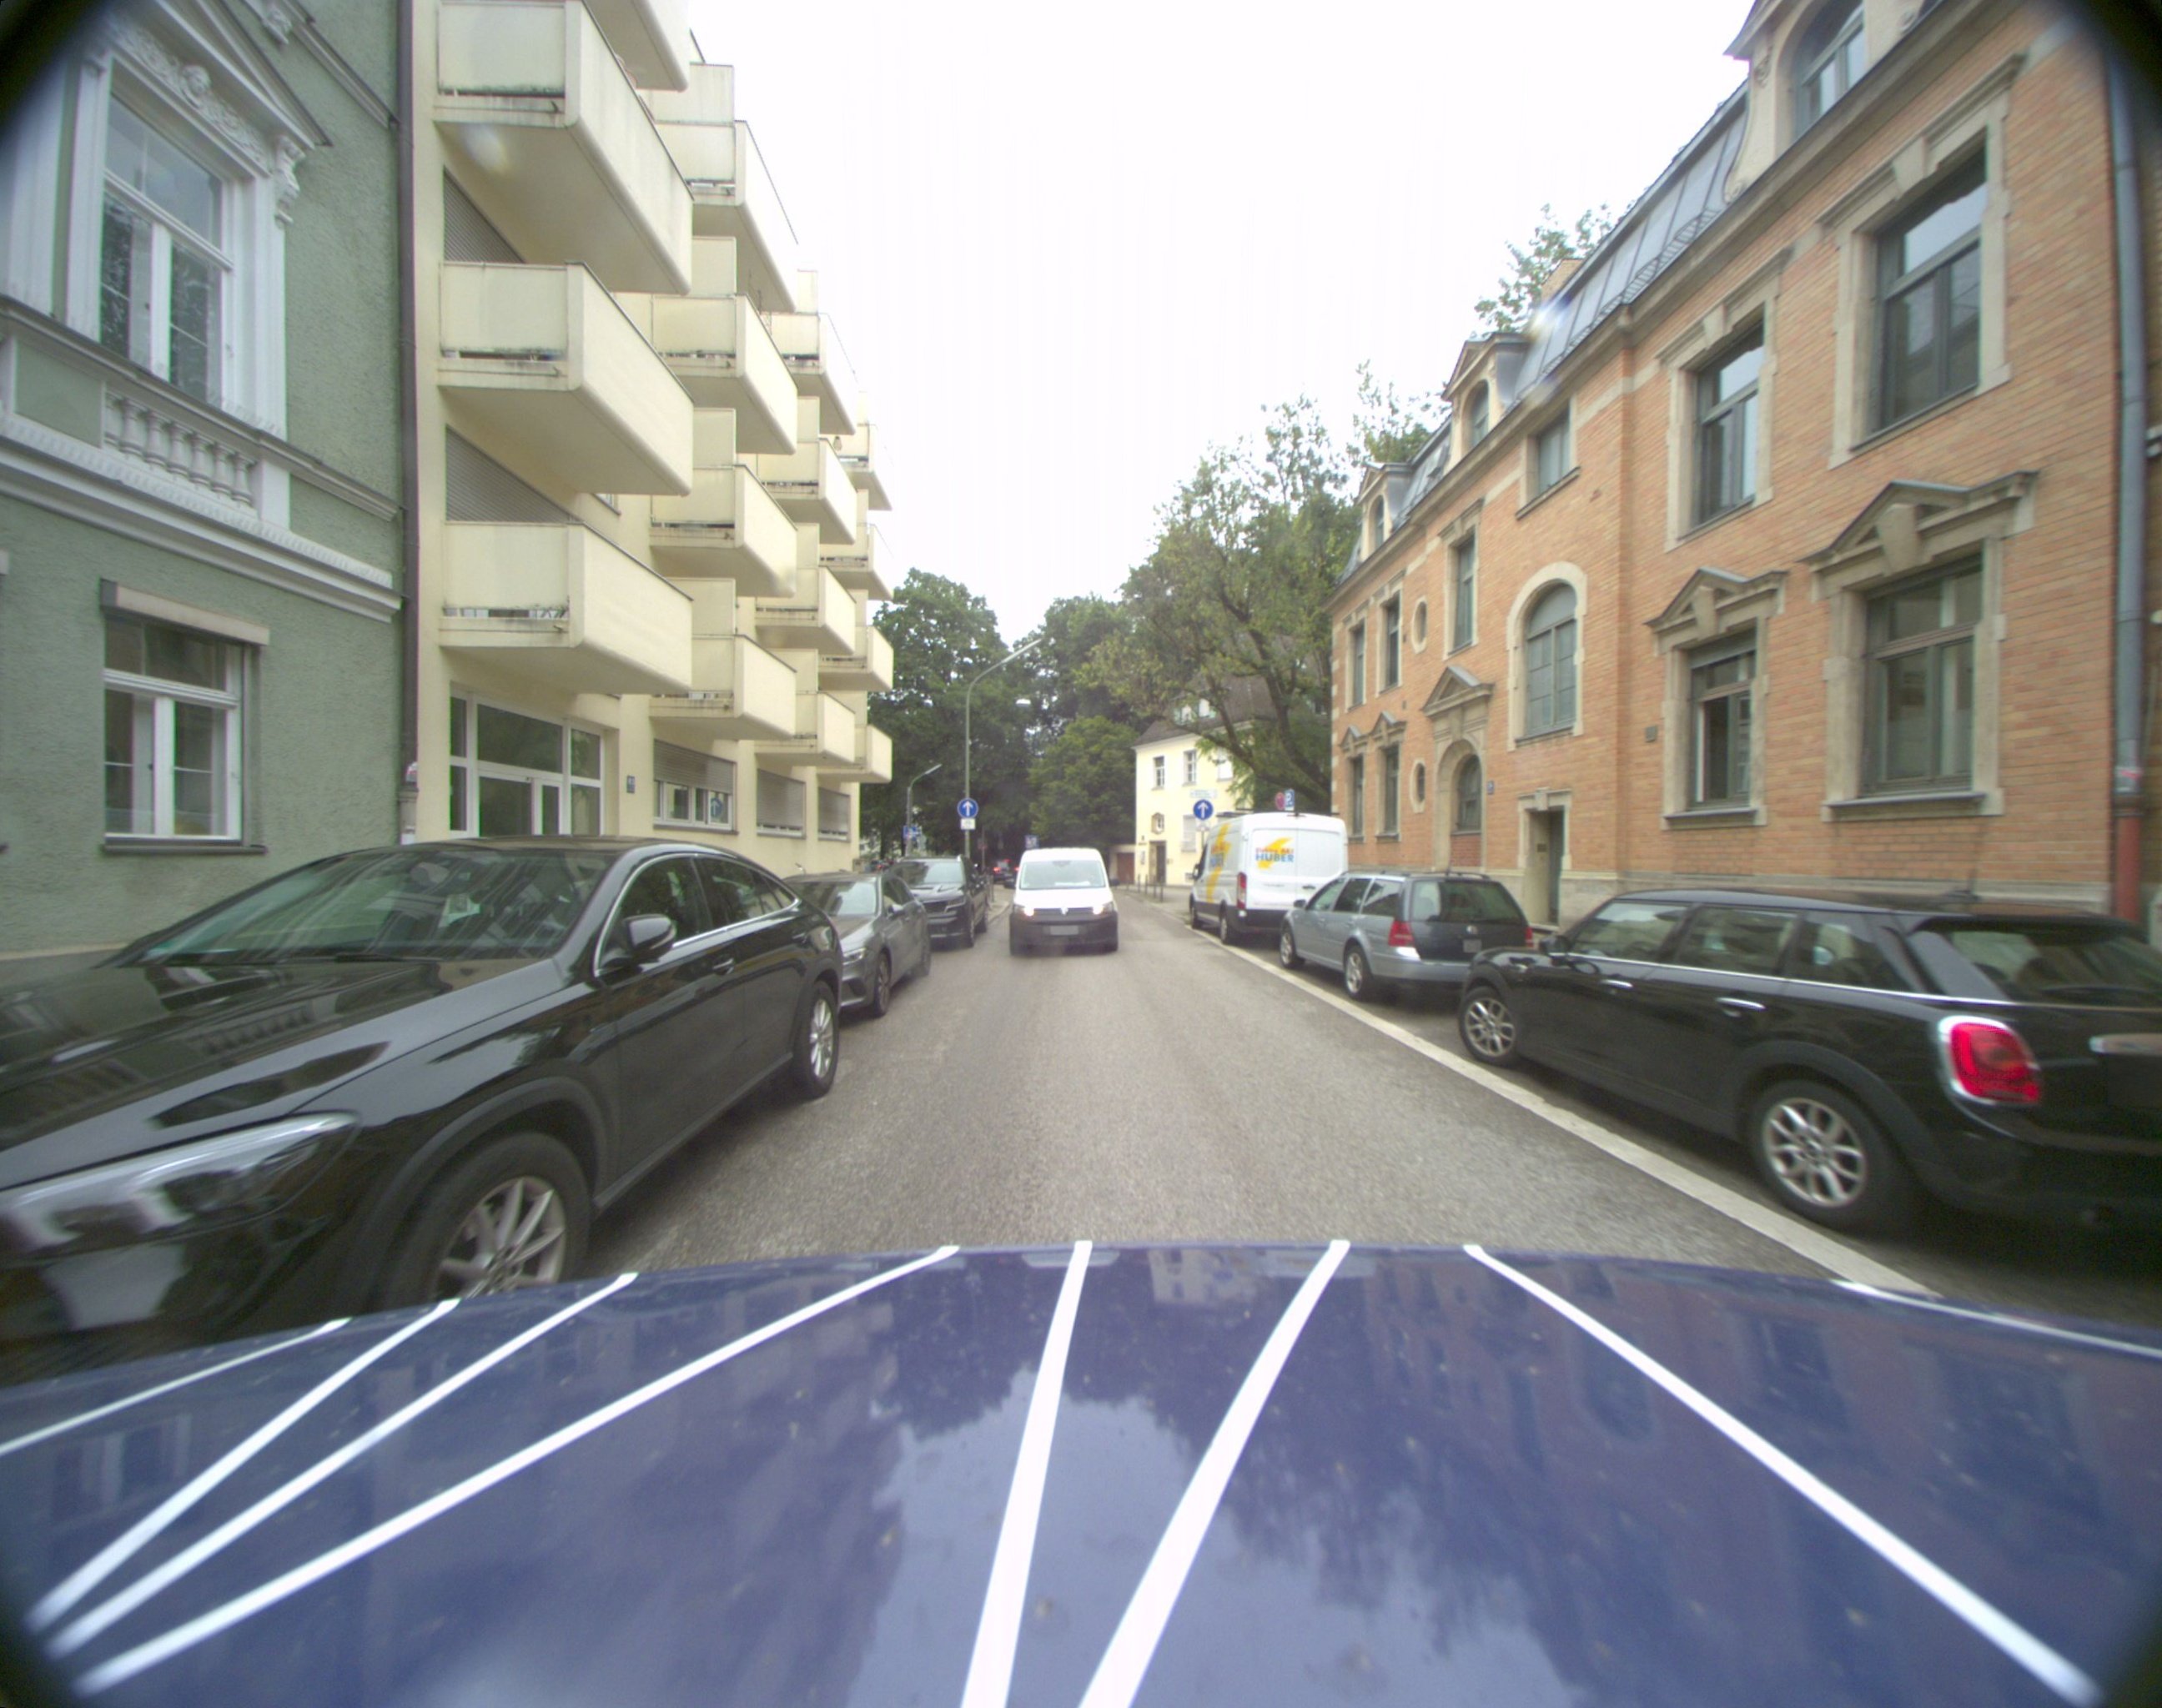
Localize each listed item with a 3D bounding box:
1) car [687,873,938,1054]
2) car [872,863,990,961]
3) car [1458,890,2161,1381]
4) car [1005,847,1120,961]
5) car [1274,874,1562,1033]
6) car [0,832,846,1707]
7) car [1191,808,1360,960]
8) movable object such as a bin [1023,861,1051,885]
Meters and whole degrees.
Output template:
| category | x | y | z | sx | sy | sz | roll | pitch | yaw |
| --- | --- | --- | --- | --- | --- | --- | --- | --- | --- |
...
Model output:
| category | x | y | z | sx | sy | sz | roll | pitch | yaw |
| --- | --- | --- | --- | --- | --- | --- | --- | --- | --- |
| car | -2.782 | 1.035 | 8.826 | 1.551 | 1.488 | 3.977 | -2 | 0 | -2 |
| car | -2.777 | 1.002 | 14.851 | 1.551 | 1.562 | 3.977 | -2 | 0 | -2 |
| car | 3.818 | 1.021 | 4.254 | 1.527 | 1.434 | 3.540 | 2 | 0 | -2 |
| car | -0.301 | 0.781 | 13.879 | 1.776 | 1.761 | 4.000 | -1 | 0 | 0 |
| car | 3.840 | 1.034 | 9.493 | 1.694 | 1.434 | 3.983 | 2 | 0 | -2 |
| car | -2.635 | 0.889 | 3.355 | 1.832 | 1.747 | 4.553 | -2 | 0 | -2 |
| car | 3.672 | 0.543 | 15.300 | 2.119 | 2.525 | 4.421 | 3 | 0 | -1 |
| movable object such as a bin | -2.460 | 1.075 | 42.558 | 1.093 | 1.255 | 1.079 | -1 | 1 | 41 |
